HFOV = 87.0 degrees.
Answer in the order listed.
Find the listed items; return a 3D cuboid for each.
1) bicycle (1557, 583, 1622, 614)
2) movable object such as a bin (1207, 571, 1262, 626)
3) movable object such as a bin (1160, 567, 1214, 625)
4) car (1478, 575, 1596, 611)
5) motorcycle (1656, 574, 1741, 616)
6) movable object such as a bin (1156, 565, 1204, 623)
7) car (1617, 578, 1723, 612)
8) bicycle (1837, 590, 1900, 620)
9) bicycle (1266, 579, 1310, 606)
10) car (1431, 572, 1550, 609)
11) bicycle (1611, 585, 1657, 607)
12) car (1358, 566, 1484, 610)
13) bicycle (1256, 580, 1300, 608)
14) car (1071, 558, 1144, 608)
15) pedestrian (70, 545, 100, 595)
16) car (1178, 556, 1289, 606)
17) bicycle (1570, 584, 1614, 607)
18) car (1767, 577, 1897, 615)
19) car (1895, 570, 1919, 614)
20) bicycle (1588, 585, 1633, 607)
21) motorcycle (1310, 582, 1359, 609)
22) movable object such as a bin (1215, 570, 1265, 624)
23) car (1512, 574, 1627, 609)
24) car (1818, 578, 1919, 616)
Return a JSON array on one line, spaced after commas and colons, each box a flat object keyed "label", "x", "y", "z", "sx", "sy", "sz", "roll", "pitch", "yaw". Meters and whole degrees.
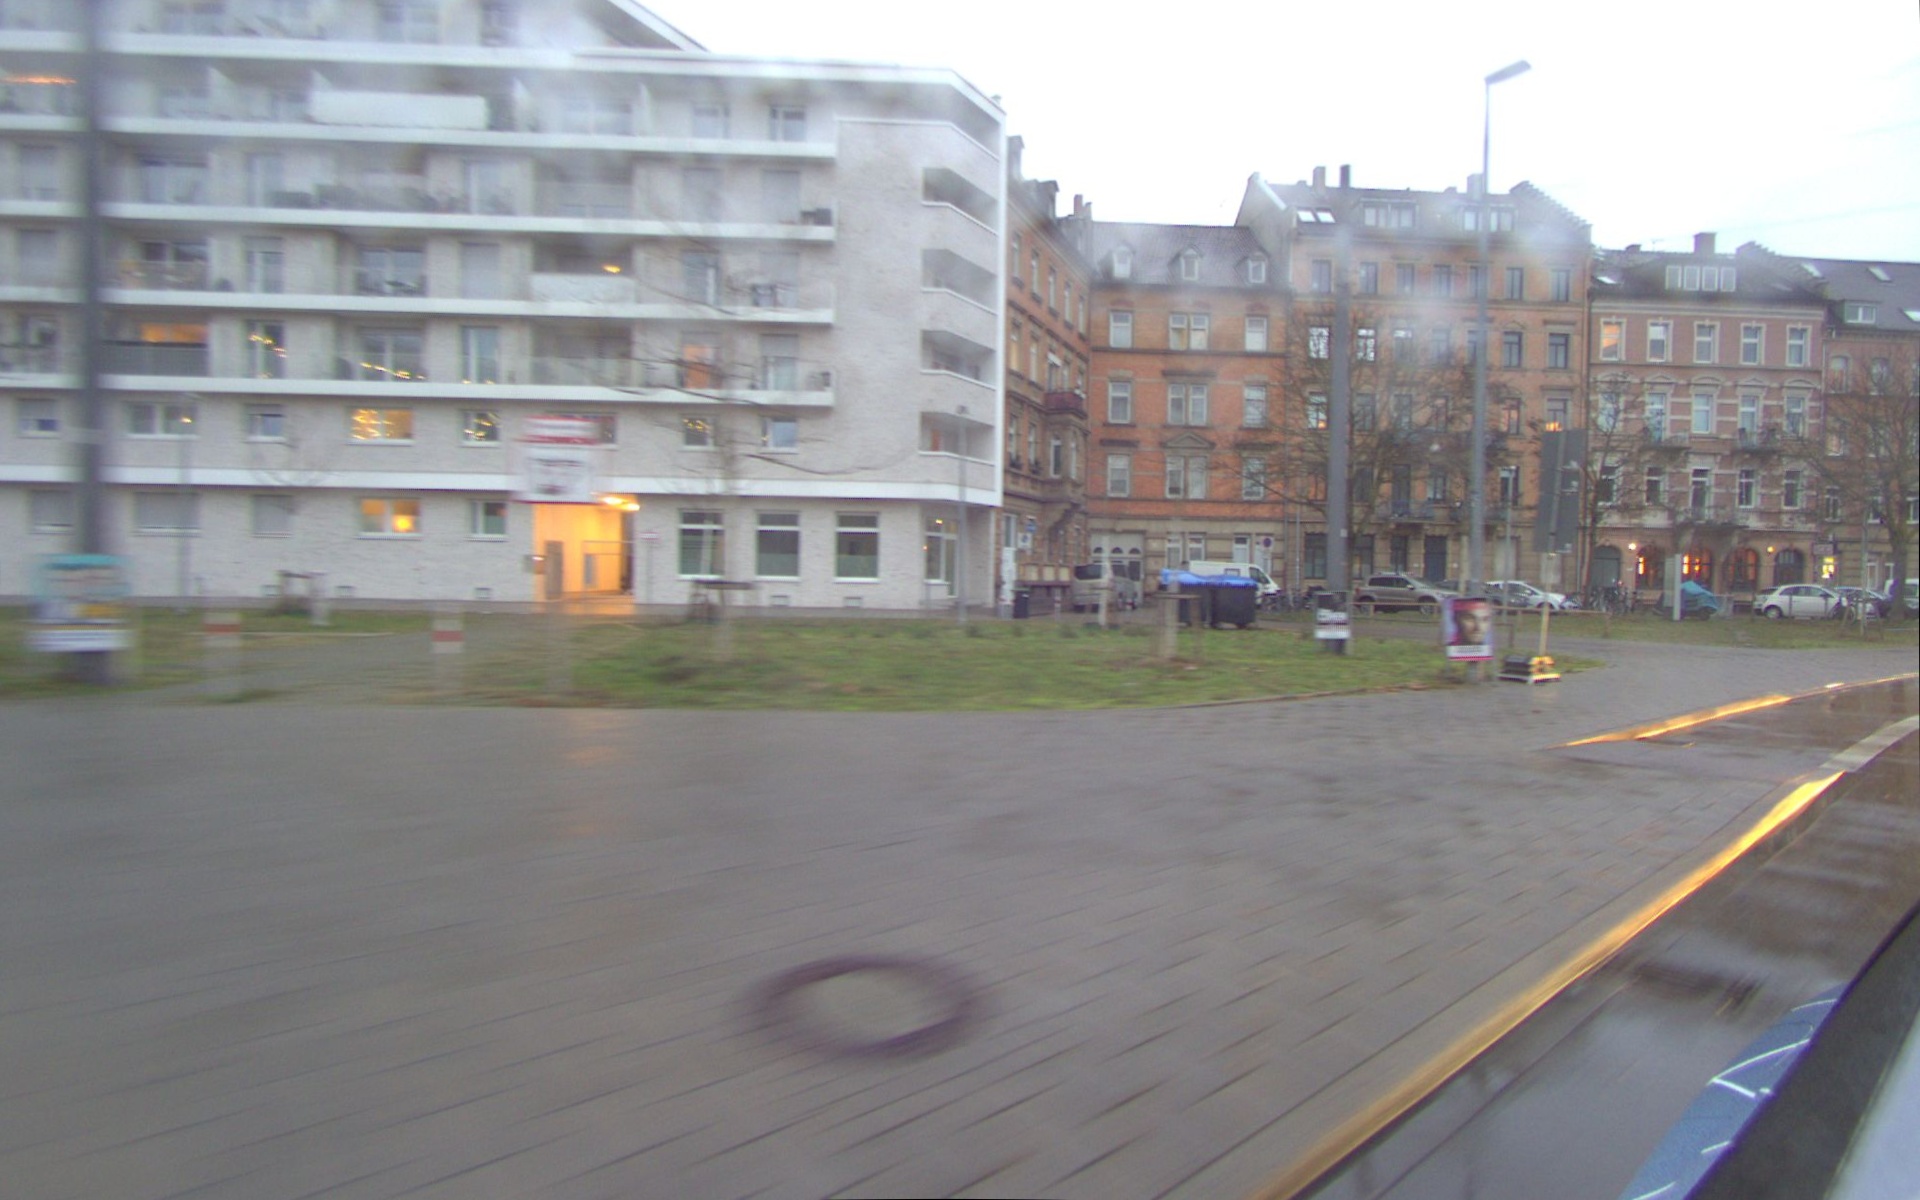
[{"label": "bicycle", "x": 22.948, "y": -0.071, "z": 36.915, "sx": 1.881, "sy": 1.031, "sz": 0.534, "roll": 2, "pitch": 3, "yaw": 17}, {"label": "movable object such as a bin", "x": 7.481, "y": -0.055, "z": 27.598, "sx": 1.202, "sy": 1.450, "sz": 1.053, "roll": 1, "pitch": 1, "yaw": 2}, {"label": "movable object such as a bin", "x": 6.145, "y": -0.119, "z": 27.428, "sx": 1.230, "sy": 1.529, "sz": 1.053, "roll": 1, "pitch": 1, "yaw": 2}, {"label": "car", "x": 22.699, "y": -0.309, "z": 39.916, "sx": 1.636, "sy": 1.322, "sz": 3.690, "roll": 0, "pitch": 2, "yaw": -34}, {"label": "motorcycle", "x": 26.834, "y": -0.204, "z": 36.847, "sx": 0.866, "sy": 1.362, "sz": 2.365, "roll": 0, "pitch": 4, "yaw": -19}, {"label": "movable object such as a bin", "x": 6.259, "y": -0.189, "z": 28.856, "sx": 1.119, "sy": 1.595, "sz": 1.053, "roll": 1, "pitch": 1, "yaw": 2}, {"label": "car", "x": 29.872, "y": -0.229, "z": 42.647, "sx": 1.491, "sy": 1.322, "sz": 3.303, "roll": 0, "pitch": 2, "yaw": -32}, {"label": "bicycle", "x": 31.970, "y": 0.174, "z": 35.634, "sx": 0.437, "sy": 0.942, "sz": 1.798, "roll": 1, "pitch": 3, "yaw": -5}, {"label": "bicycle", "x": 12.522, "y": -0.298, "z": 38.678, "sx": 0.437, "sy": 0.942, "sz": 1.799, "roll": 0, "pitch": 3, "yaw": -27}, {"label": "car", "x": 20.422, "y": -0.381, "z": 39.083, "sx": 1.709, "sy": 1.322, "sz": 3.690, "roll": 0, "pitch": 2, "yaw": -34}, {"label": "bicycle", "x": 27.927, "y": -0.178, "z": 41.955, "sx": 0.386, "sy": 0.827, "sz": 1.800, "roll": 1, "pitch": 3, "yaw": -13}, {"label": "car", "x": 17.794, "y": -0.507, "z": 39.207, "sx": 1.709, "sy": 1.589, "sz": 4.158, "roll": 0, "pitch": 2, "yaw": -34}, {"label": "bicycle", "x": 12.057, "y": -0.239, "z": 38.424, "sx": 0.437, "sy": 0.942, "sz": 1.799, "roll": 0, "pitch": 3, "yaw": -27}, {"label": "car", "x": 6.172, "y": -0.724, "z": 41.972, "sx": 1.921, "sy": 1.966, "sz": 4.563, "roll": 1, "pitch": 2, "yaw": 23}, {"label": "pedestrian", "x": -29.156, "y": -0.995, "z": 33.729, "sx": 0.620, "sy": 1.652, "sz": 0.723, "roll": 0, "pitch": 1, "yaw": -31}, {"label": "car", "x": 12.798, "y": -0.898, "z": 47.533, "sx": 4.568, "sy": 2.216, "sz": 2.002, "roll": 1, "pitch": 1, "yaw": -5}, {"label": "bicycle", "x": 26.095, "y": -0.196, "z": 41.804, "sx": 0.437, "sy": 0.804, "sz": 1.800, "roll": 1, "pitch": 3, "yaw": -10}, {"label": "car", "x": 35.038, "y": -0.209, "z": 40.752, "sx": 1.491, "sy": 1.417, "sz": 3.691, "roll": 0, "pitch": 2, "yaw": -32}, {"label": "car", "x": 40.922, "y": -0.287, "z": 40.855, "sx": 1.747, "sy": 1.790, "sz": 4.348, "roll": 0, "pitch": 2, "yaw": -33}, {"label": "bicycle", "x": 26.770, "y": -0.173, "z": 41.701, "sx": 0.437, "sy": 0.787, "sz": 1.800, "roll": 1, "pitch": 3, "yaw": -10}, {"label": "motorcycle", "x": 14.211, "y": -0.180, "z": 38.442, "sx": 0.503, "sy": 0.942, "sz": 1.797, "roll": 0, "pitch": 4, "yaw": -33}, {"label": "movable object such as a bin", "x": 7.927, "y": -0.096, "z": 28.694, "sx": 1.119, "sy": 1.504, "sz": 1.053, "roll": 1, "pitch": 1, "yaw": 2}, {"label": "car", "x": 24.752, "y": -0.358, "z": 41.204, "sx": 1.492, "sy": 1.322, "sz": 3.690, "roll": 0, "pitch": 2, "yaw": -34}, {"label": "car", "x": 37.656, "y": -0.142, "z": 41.345, "sx": 1.491, "sy": 1.454, "sz": 3.691, "roll": 0, "pitch": 2, "yaw": -32}]
